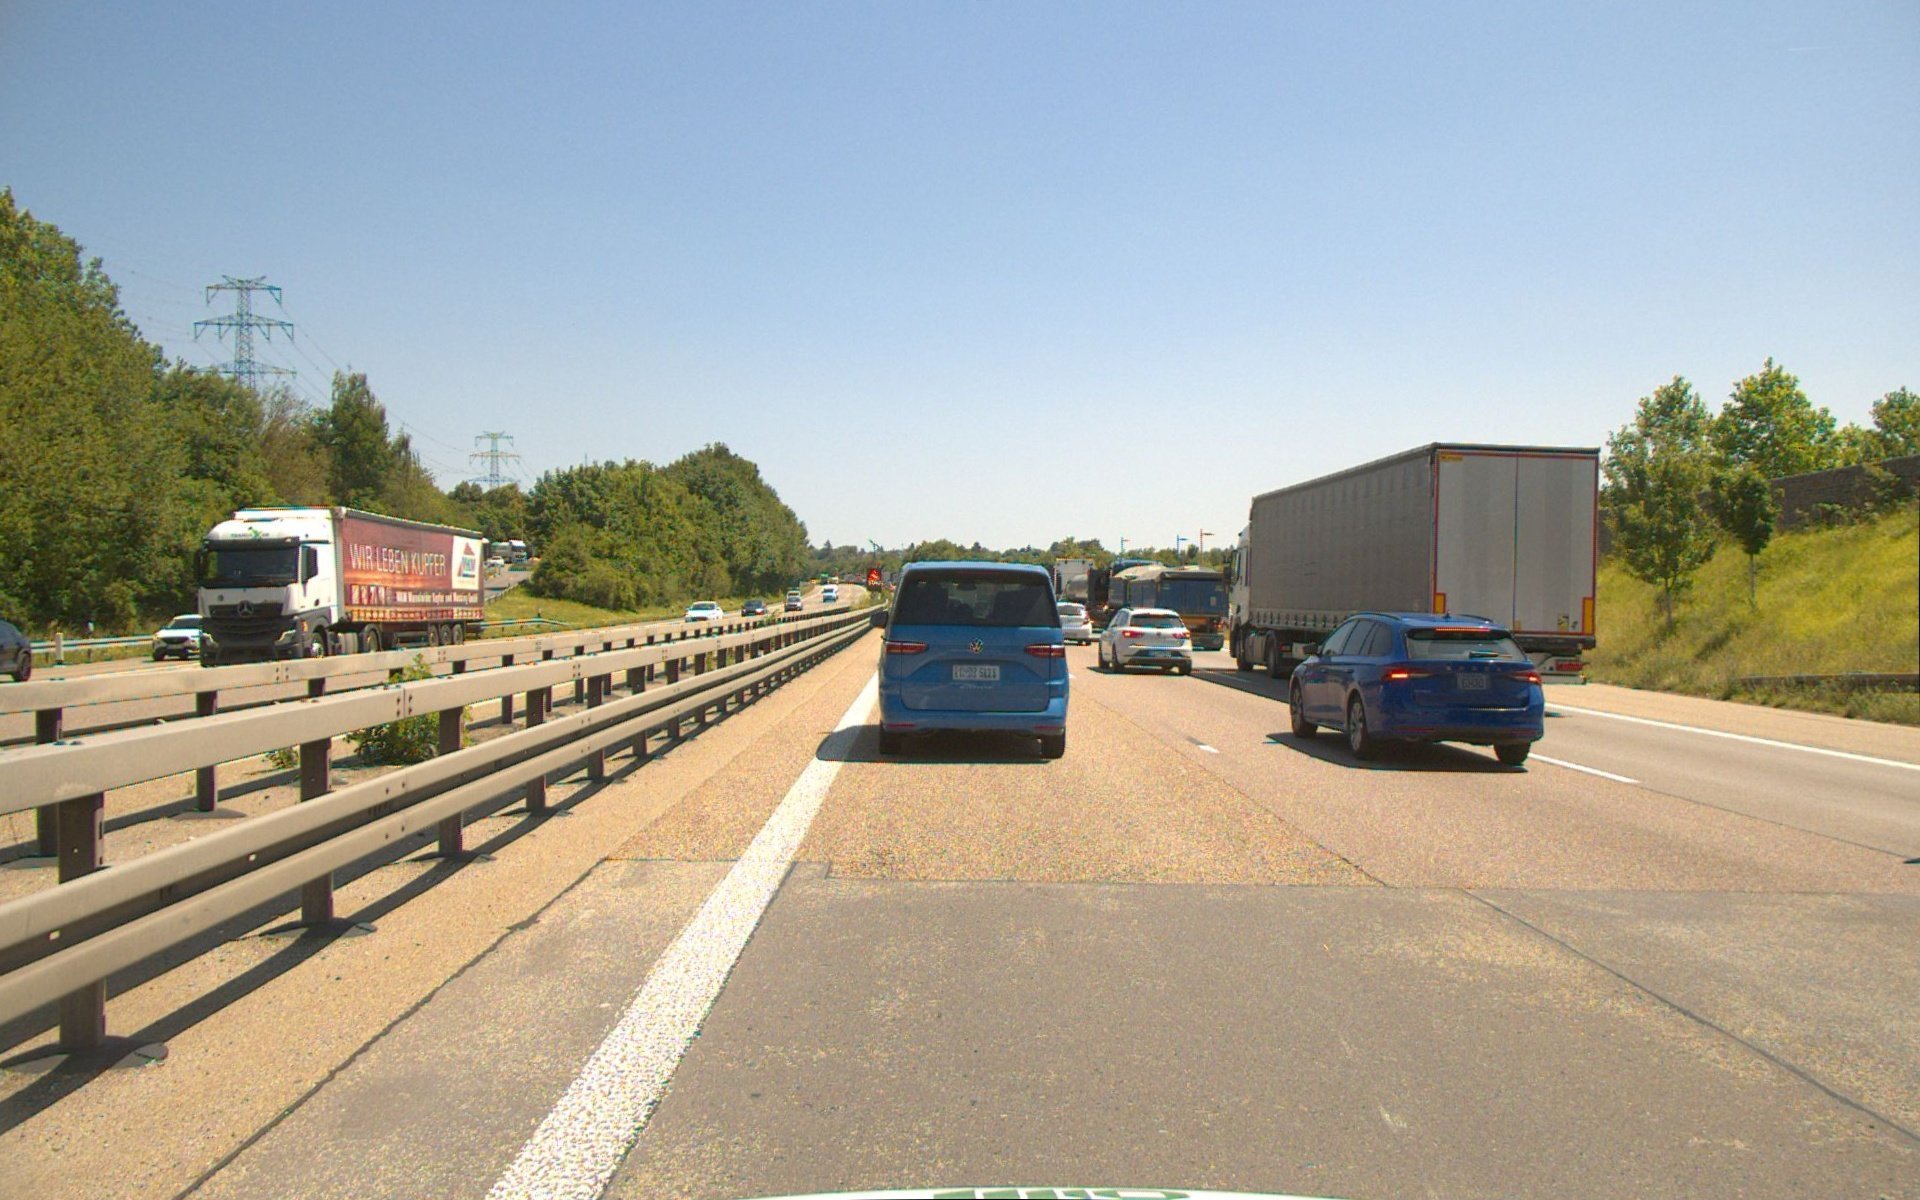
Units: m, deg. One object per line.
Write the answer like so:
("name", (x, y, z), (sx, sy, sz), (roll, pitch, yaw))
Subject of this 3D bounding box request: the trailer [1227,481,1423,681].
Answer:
("trailer", (8.102, -0.418, 37.577), (2.865, 4.114, 6.409), (1, 0, -1))

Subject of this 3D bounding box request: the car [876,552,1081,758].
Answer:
("car", (0.170, 0.533, 17.428), (1.862, 1.870, 3.999), (2, -1, 0))

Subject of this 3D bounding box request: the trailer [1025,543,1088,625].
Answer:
("trailer", (6.517, -0.980, 113.764), (3.571, 5.226, 13.075), (2, -1, 1))

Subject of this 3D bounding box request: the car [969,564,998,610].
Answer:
("car", (2.817, -1.496, 199.462), (3.153, 5.349, 8.141), (2, -1, -1))

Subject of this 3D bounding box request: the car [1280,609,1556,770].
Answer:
("car", (4.744, 0.866, 17.796), (1.671, 1.466, 4.426), (2, -1, -1))

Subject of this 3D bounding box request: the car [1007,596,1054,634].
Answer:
("car", (3.038, 0.646, 72.299), (1.745, 1.551, 3.998), (2, -1, -2))

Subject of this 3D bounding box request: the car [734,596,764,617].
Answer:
("car", (-15.870, 0.498, 124.492), (1.838, 1.472, 4.143), (-1, -1, -2))

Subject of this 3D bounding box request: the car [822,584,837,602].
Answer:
("car", (-20.511, -1.102, 259.426), (2.011, 2.697, 5.836), (2, -1, -2))

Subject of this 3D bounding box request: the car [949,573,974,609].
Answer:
("car", (0.203, -1.340, 257.435), (3.154, 5.349, 8.138), (2, -1, -4))

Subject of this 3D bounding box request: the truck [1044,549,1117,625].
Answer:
("truck", (7.004, -0.704, 97.134), (3.552, 4.166, 7.522), (2, -1, 0))

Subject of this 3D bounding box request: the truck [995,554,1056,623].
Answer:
("truck", (5.298, -0.828, 137.307), (3.549, 5.304, 15.679), (2, -1, -3))

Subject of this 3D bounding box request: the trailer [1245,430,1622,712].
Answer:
("trailer", (8.209, -0.427, 31.382), (2.902, 4.120, 13.748), (1, 0, -1))

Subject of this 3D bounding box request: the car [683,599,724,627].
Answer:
("car", (-14.344, 0.733, 92.706), (1.813, 1.493, 4.302), (0, -1, -3))

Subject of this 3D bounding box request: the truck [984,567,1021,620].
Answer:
("truck", (4.153, -0.611, 164.229), (3.006, 5.006, 10.686), (2, -1, -2))

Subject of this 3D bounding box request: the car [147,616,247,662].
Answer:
("car", (-26.134, 1.318, 56.803), (1.652, 1.481, 4.341), (2, -1, -4))

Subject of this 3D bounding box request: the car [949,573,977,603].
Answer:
("car", (0.289, -1.172, 162.440), (2.499, 2.765, 5.619), (2, -1, -2))

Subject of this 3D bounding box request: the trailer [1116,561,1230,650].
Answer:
("trailer", (7.537, 0.123, 59.744), (2.688, 2.886, 9.114), (2, 1, -1))

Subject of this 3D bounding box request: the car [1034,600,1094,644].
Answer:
("car", (3.766, 0.801, 60.383), (1.803, 1.480, 3.999), (2, -1, -1))

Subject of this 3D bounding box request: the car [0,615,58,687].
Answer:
("car", (-23.166, 1.176, 38.844), (1.958, 1.603, 5.260), (2, -1, -11))

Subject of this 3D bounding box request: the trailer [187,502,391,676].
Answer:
("trailer", (-16.819, -0.282, 41.953), (2.701, 4.045, 6.130), (-1, 0, -1))

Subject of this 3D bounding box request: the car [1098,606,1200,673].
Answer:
("car", (4.216, 0.853, 37.467), (1.829, 1.385, 4.000), (2, 0, 0))

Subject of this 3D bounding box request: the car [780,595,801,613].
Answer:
("car", (-16.431, 0.401, 160.644), (1.738, 1.659, 3.949), (2, -1, -2))

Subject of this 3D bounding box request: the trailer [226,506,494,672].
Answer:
("trailer", (-16.934, -0.327, 48.318), (2.707, 4.045, 14.677), (-1, 0, -1))

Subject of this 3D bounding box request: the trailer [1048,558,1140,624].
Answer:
("trailer", (6.975, -0.336, 88.512), (3.572, 3.133, 15.770), (2, -1, 0))

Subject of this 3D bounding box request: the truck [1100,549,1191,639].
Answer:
("truck", (7.427, -0.279, 67.126), (2.688, 3.369, 7.131), (2, 1, -1))
